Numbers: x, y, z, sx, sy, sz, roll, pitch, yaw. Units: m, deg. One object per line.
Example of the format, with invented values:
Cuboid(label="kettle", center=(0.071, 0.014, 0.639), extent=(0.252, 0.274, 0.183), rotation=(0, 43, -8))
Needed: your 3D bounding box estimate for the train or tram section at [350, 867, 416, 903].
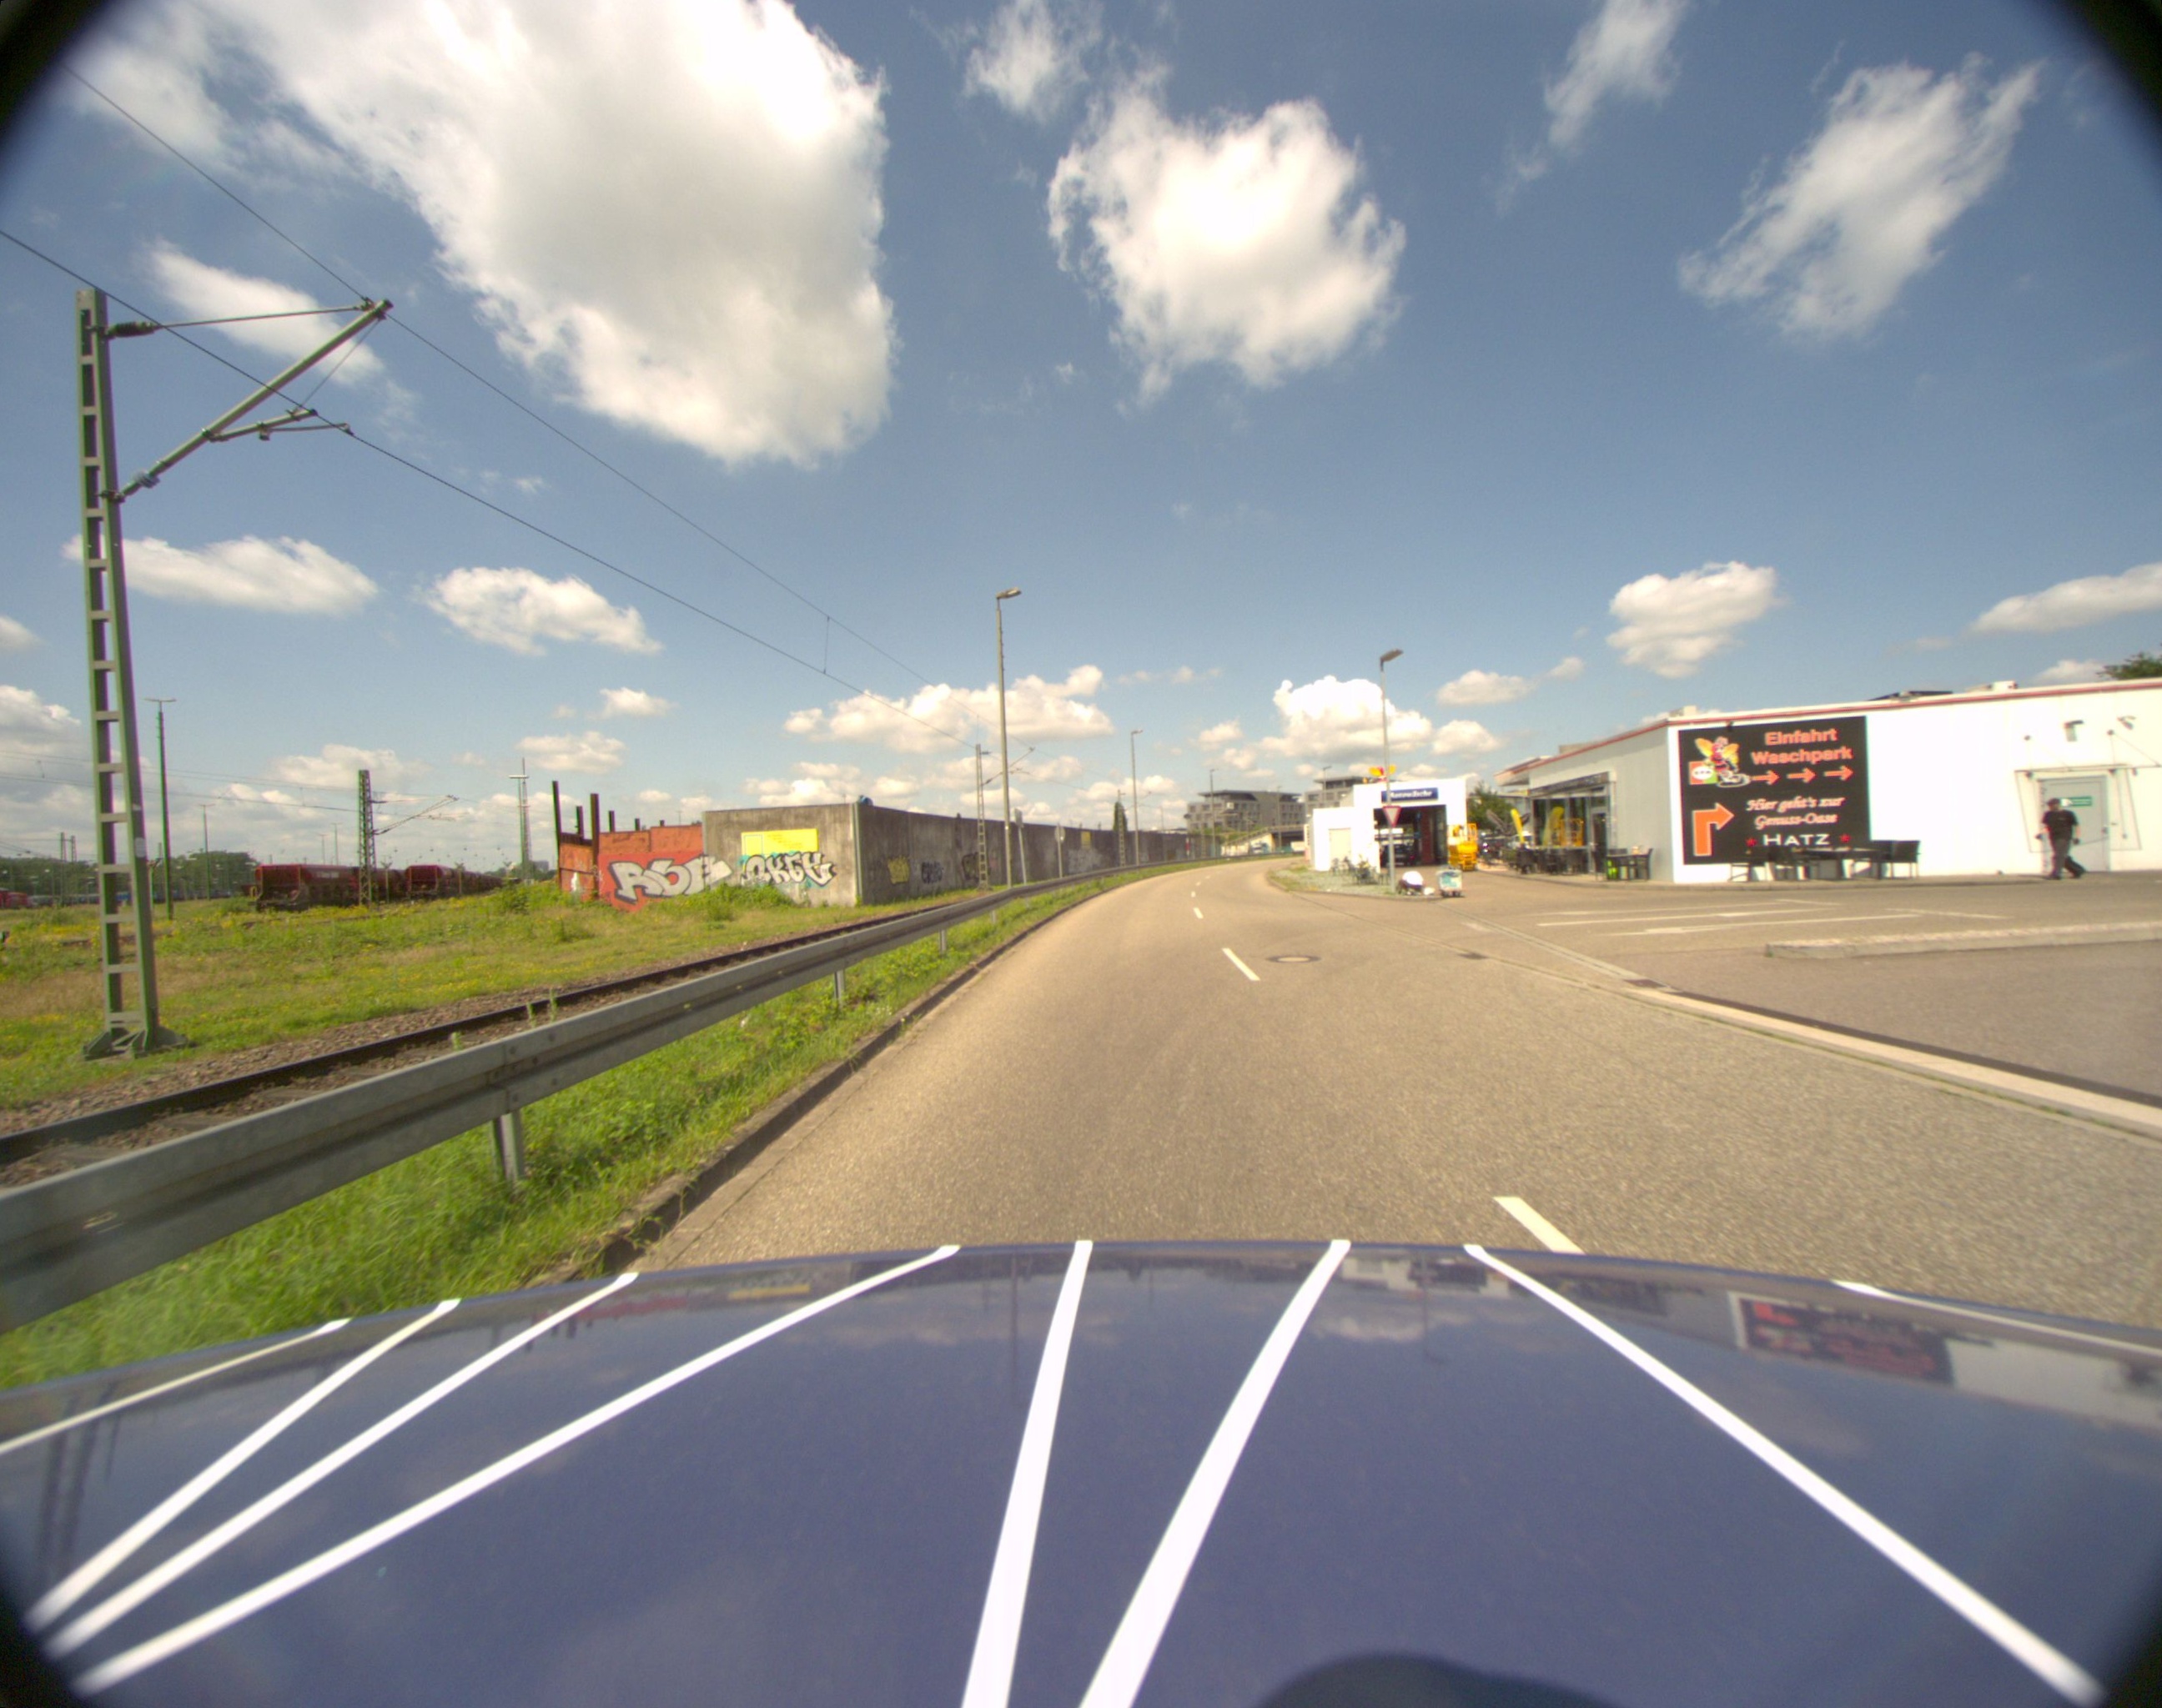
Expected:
Cuboid(label="train or tram section", center=(-78.546, 3.443, 85.788), extent=(3.105, 3.695, 12.523), rotation=(-3, 0, -32))

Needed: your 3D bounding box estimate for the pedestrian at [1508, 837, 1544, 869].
Cuboid(label="pedestrian", center=(19.048, -0.027, 32.535), extent=(0.940, 1.300, 0.865), rotation=(-3, 0, -2))

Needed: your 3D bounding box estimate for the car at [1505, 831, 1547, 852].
Cuboid(label="car", center=(40.145, -1.097, 68.705), extent=(1.996, 1.768, 4.601), rotation=(-2, 1, 14))

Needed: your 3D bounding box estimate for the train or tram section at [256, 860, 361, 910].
Cuboid(label="train or tram section", center=(-65.259, 2.550, 64.623), extent=(3.307, 3.695, 12.523), rotation=(-3, 0, -32))

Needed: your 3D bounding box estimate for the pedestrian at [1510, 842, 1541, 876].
Cuboid(label="pedestrian", center=(16.878, 0.188, 28.848), extent=(0.754, 1.249, 0.900), rotation=(-3, 0, 16))

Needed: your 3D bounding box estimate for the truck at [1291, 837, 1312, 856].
Cuboid(label="truck", center=(40.122, -1.387, 138.369), extent=(2.990, 3.400, 8.120), rotation=(-2, 1, 12))

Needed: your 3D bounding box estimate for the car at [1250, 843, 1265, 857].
Cuboid(label="car", center=(36.270, -0.832, 156.414), extent=(2.064, 2.512, 5.884), rotation=(-4, 0, 5))

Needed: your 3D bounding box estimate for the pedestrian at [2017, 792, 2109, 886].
Cuboid(label="pedestrian", center=(21.921, -0.340, 16.987), extent=(0.940, 2.003, 0.864), rotation=(-3, 2, -2))

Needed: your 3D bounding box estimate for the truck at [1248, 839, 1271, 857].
Cuboid(label="truck", center=(39.223, -1.336, 167.311), extent=(2.654, 3.625, 6.885), rotation=(-4, 1, -5))

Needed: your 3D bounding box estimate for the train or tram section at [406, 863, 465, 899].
Cuboid(label="train or tram section", center=(-73.581, 2.999, 86.859), extent=(3.211, 3.695, 12.523), rotation=(-3, 0, -32))

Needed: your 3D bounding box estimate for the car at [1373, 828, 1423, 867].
Cuboid(label="car", center=(18.940, -0.411, 45.605), extent=(1.996, 2.097, 5.015), rotation=(-2, 1, 14))

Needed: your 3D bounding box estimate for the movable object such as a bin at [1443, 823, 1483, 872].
Cuboid(label="movable object such as a bin", center=(17.724, -0.349, 35.298), extent=(1.064, 2.140, 2.706), rotation=(-3, 2, 15))

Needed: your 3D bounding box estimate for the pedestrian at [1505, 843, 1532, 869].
Cuboid(label="pedestrian", center=(19.279, 0.095, 33.483), extent=(0.820, 1.104, 0.756), rotation=(-3, 0, 14))

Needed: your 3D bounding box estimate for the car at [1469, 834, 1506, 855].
Cuboid(label="car", center=(37.052, -0.876, 69.396), extent=(1.996, 1.757, 4.602), rotation=(-2, 1, 16))

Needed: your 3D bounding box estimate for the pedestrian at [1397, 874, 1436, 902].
Cuboid(label="pedestrian", center=(9.843, 0.988, 22.329), extent=(0.863, 0.755, 0.819), rotation=(-3, 0, 13))

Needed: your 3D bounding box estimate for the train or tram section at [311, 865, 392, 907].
Cuboid(label="train or tram section", center=(-71.885, 3.096, 75.209), extent=(3.235, 3.695, 12.523), rotation=(-3, 0, -32))
